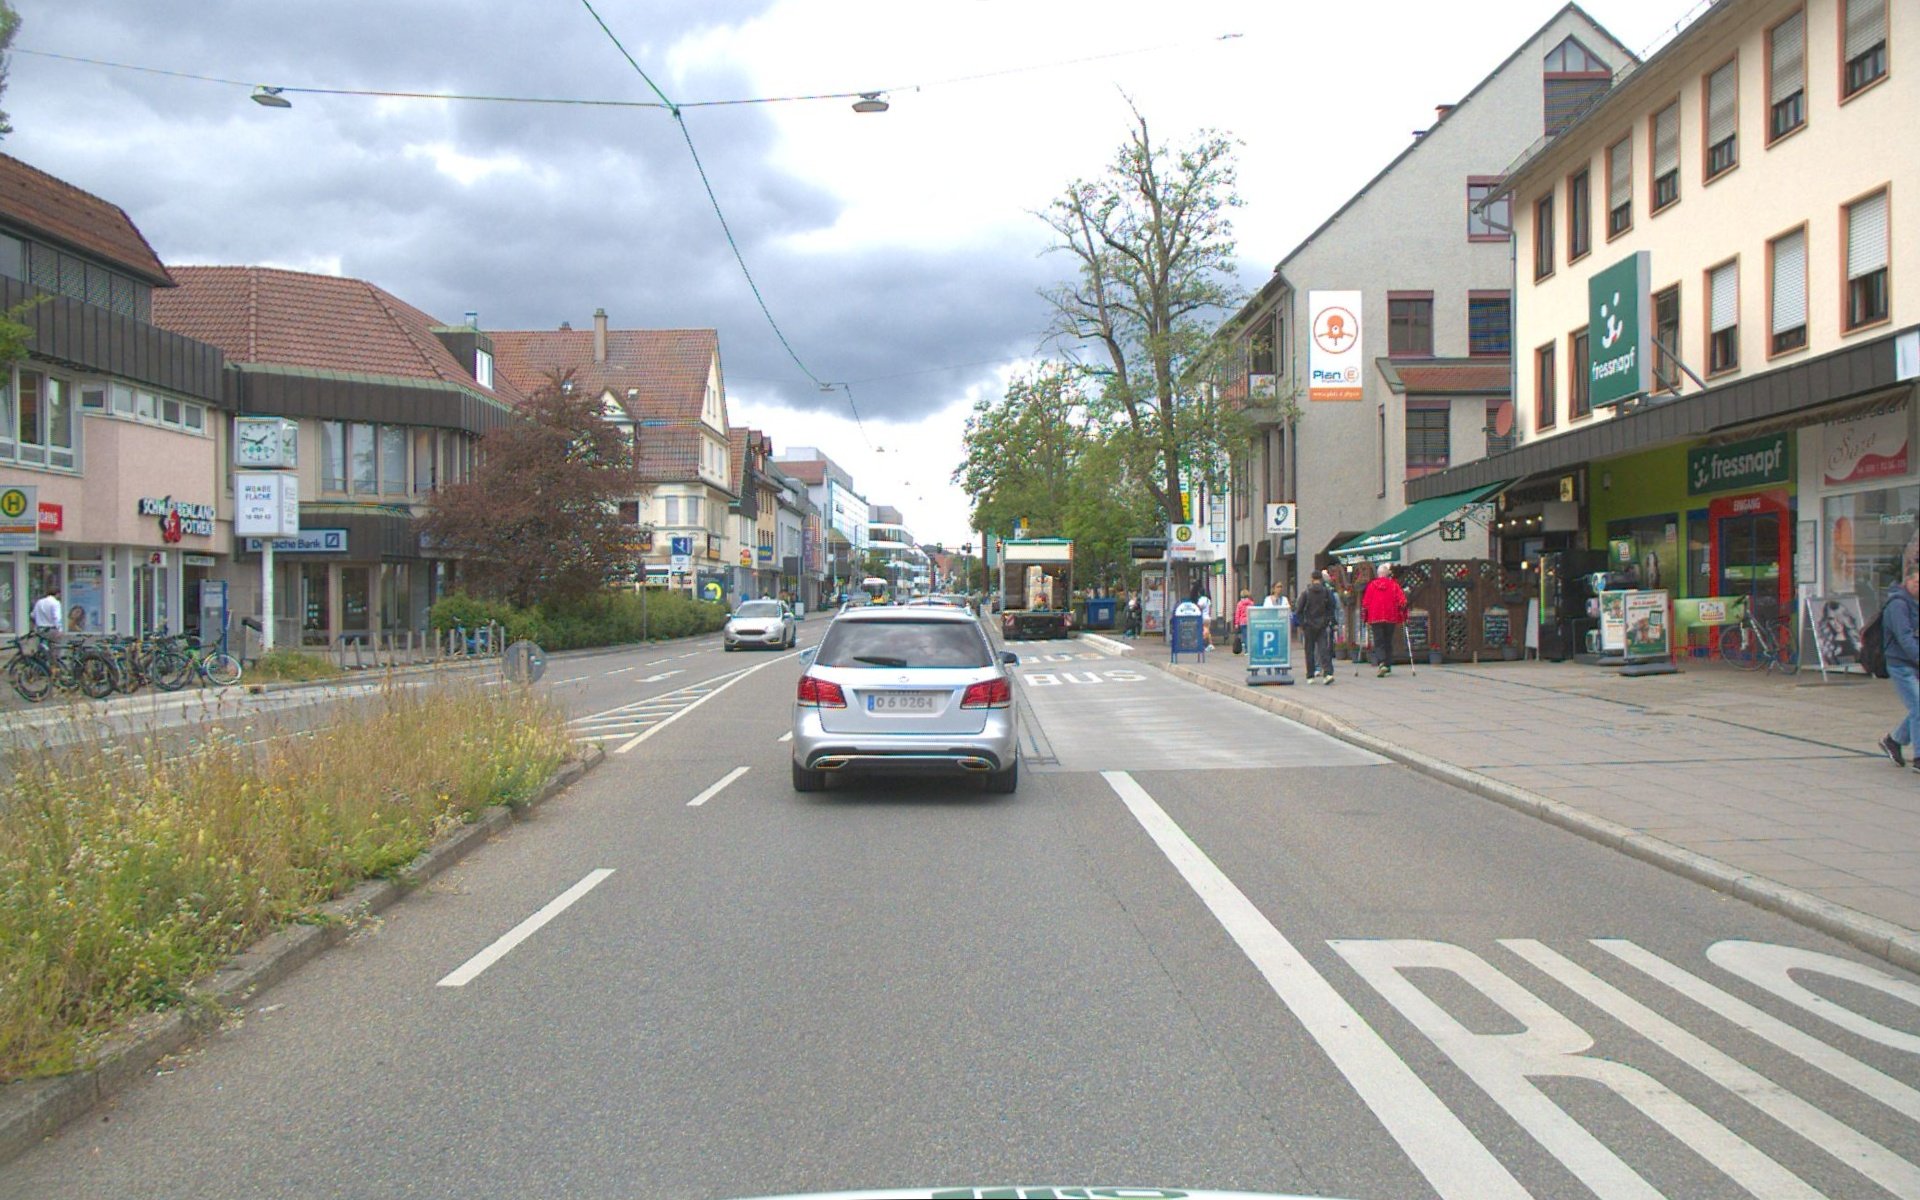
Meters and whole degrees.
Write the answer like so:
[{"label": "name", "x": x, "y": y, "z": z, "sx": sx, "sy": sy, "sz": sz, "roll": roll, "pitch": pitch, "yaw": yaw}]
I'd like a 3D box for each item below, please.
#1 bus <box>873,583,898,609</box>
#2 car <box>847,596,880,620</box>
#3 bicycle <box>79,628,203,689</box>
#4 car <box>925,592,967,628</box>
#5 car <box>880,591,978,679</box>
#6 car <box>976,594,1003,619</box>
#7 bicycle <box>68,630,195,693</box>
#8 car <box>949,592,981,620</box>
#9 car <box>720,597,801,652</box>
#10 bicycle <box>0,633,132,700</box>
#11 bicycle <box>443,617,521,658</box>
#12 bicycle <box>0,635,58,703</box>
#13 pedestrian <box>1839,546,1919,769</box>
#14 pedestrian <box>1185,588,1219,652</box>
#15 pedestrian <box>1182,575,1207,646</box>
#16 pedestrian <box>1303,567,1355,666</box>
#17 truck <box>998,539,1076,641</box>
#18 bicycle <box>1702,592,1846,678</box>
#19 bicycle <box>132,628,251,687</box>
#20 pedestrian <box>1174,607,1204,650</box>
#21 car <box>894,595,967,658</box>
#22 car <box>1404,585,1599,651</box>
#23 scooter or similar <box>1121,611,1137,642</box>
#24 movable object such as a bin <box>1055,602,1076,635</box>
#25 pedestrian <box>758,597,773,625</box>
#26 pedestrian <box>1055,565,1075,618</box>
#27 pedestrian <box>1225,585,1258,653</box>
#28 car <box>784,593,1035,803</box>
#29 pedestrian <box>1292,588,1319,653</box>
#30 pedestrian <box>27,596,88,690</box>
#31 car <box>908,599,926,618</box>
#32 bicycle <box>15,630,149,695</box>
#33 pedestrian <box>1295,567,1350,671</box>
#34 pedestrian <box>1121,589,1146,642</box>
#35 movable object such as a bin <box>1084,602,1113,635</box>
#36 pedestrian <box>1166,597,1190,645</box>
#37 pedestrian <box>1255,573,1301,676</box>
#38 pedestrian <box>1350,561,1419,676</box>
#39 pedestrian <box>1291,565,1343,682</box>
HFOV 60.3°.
[{"label": "bus", "x": -9.200, "y": -0.505, "z": 205.025, "sx": 2.718, "sy": 3.220, "sz": 5.933, "roll": 0, "pitch": 0, "yaw": 1}, {"label": "car", "x": -7.630, "y": 0.588, "z": 131.208, "sx": 2.026, "sy": 1.769, "sz": 4.694, "roll": -2, "pitch": 0, "yaw": 2}, {"label": "bicycle", "x": -15.458, "y": 1.093, "z": 31.239, "sx": 1.981, "sy": 1.109, "sz": 0.647, "roll": 0, "pitch": 0, "yaw": -10}, {"label": "car", "x": -0.654, "y": 0.470, "z": 81.165, "sx": 1.952, "sy": 1.713, "sz": 4.000, "roll": 0, "pitch": 0, "yaw": 1}, {"label": "car", "x": -0.538, "y": 0.612, "z": 31.414, "sx": 1.718, "sy": 1.547, "sz": 4.000, "roll": -1, "pitch": 0, "yaw": 0}, {"label": "car", "x": 2.132, "y": 0.458, "z": 120.160, "sx": 1.952, "sy": 1.713, "sz": 4.000, "roll": 0, "pitch": 0, "yaw": 1}, {"label": "bicycle", "x": -15.285, "y": 1.124, "z": 30.544, "sx": 1.981, "sy": 1.109, "sz": 0.647, "roll": 0, "pitch": 0, "yaw": -10}, {"label": "car", "x": 0.303, "y": 0.384, "z": 104.003, "sx": 1.952, "sy": 1.713, "sz": 4.000, "roll": 0, "pitch": 0, "yaw": 1}, {"label": "car", "x": -5.938, "y": 0.711, "z": 49.660, "sx": 1.836, "sy": 1.532, "sz": 4.344, "roll": -2, "pitch": 0, "yaw": 1}, {"label": "bicycle", "x": -15.329, "y": 1.134, "z": 28.282, "sx": 1.978, "sy": 1.109, "sz": 0.648, "roll": 0, "pitch": 0, "yaw": -5}, {"label": "bicycle", "x": -13.158, "y": 1.031, "z": 45.588, "sx": 1.981, "sy": 1.109, "sz": 0.647, "roll": 0, "pitch": 0, "yaw": -10}, {"label": "bicycle", "x": -16.116, "y": 1.136, "z": 27.356, "sx": 1.983, "sy": 1.109, "sz": 0.647, "roll": 0, "pitch": 0, "yaw": -14}, {"label": "pedestrian", "x": 7.330, "y": 0.422, "z": 12.741, "sx": 0.673, "sy": 1.663, "sz": 0.853, "roll": 0, "pitch": 0, "yaw": 2}, {"label": "pedestrian", "x": 6.429, "y": 0.516, "z": 43.940, "sx": 0.604, "sy": 1.663, "sz": 0.789, "roll": 0, "pitch": 1, "yaw": -21}, {"label": "pedestrian", "x": 6.963, "y": 0.309, "z": 49.024, "sx": 0.600, "sy": 2.083, "sz": 0.588, "roll": -2, "pitch": -1, "yaw": 14}, {"label": "pedestrian", "x": 6.783, "y": 0.312, "z": 30.434, "sx": 0.669, "sy": 1.772, "sz": 0.781, "roll": -2, "pitch": -2, "yaw": -5}, {"label": "truck", "x": 2.856, "y": -0.363, "z": 63.921, "sx": 2.633, "sy": 3.623, "sz": 9.766, "roll": 0, "pitch": 0, "yaw": 0}, {"label": "bicycle", "x": 10.927, "y": 0.438, "z": 22.314, "sx": 0.726, "sy": 1.081, "sz": 2.350, "roll": -1, "pitch": 0, "yaw": -1}, {"label": "bicycle", "x": -14.903, "y": 1.108, "z": 32.128, "sx": 1.981, "sy": 1.109, "sz": 0.647, "roll": 0, "pitch": 0, "yaw": -10}, {"label": "pedestrian", "x": 6.438, "y": 0.786, "z": 46.479, "sx": 0.698, "sy": 1.186, "sz": 0.587, "roll": 0, "pitch": 1, "yaw": -6}, {"label": "car", "x": -0.799, "y": 0.713, "z": 47.297, "sx": 1.952, "sy": 1.713, "sz": 4.000, "roll": 0, "pitch": 0, "yaw": 1}, {"label": "car", "x": 14.033, "y": 0.462, "z": 43.065, "sx": 4.508, "sy": 1.648, "sz": 1.881, "roll": 0, "pitch": 0, "yaw": 4}, {"label": "scooter or similar", "x": 5.334, "y": 0.843, "z": 52.205, "sx": 0.382, "sy": 0.976, "sz": 0.350, "roll": -1, "pitch": 0, "yaw": -41}, {"label": "movable object such as a bin", "x": 4.481, "y": 0.792, "z": 70.401, "sx": 0.863, "sy": 1.363, "sz": 1.086, "roll": -1, "pitch": 0, "yaw": 2}, {"label": "pedestrian", "x": -11.540, "y": 0.650, "z": 97.918, "sx": 0.801, "sy": 1.663, "sz": 0.979, "roll": 2, "pitch": 0, "yaw": -5}, {"label": "pedestrian", "x": 3.697, "y": -0.295, "z": 58.242, "sx": 0.601, "sy": 1.811, "sz": 0.587, "roll": -1, "pitch": -1, "yaw": -3}, {"label": "pedestrian", "x": 6.737, "y": 0.455, "z": 39.551, "sx": 0.658, "sy": 1.594, "sz": 0.492, "roll": 1, "pitch": 1, "yaw": 21}, {"label": "car", "x": -0.408, "y": 0.727, "z": 14.157, "sx": 1.836, "sy": 1.532, "sz": 3.999, "roll": 0, "pitch": 0, "yaw": -1}, {"label": "pedestrian", "x": 8.981, "y": 0.528, "z": 43.014, "sx": 0.574, "sy": 1.663, "sz": 0.615, "roll": 0, "pitch": 0, "yaw": 2}, {"label": "pedestrian", "x": -17.749, "y": 0.842, "z": 32.549, "sx": 0.711, "sy": 1.794, "sz": 0.755, "roll": 3, "pitch": 0, "yaw": -2}, {"label": "car", "x": -3.878, "y": 0.760, "z": 147.776, "sx": 1.538, "sy": 1.567, "sz": 2.959, "roll": 2, "pitch": 0, "yaw": -2}, {"label": "bicycle", "x": -15.559, "y": 1.099, "z": 29.337, "sx": 1.981, "sy": 1.109, "sz": 0.647, "roll": 0, "pitch": 0, "yaw": -10}, {"label": "pedestrian", "x": 5.948, "y": 0.313, "z": 27.158, "sx": 0.704, "sy": 1.663, "sz": 0.614, "roll": -1, "pitch": -1, "yaw": -2}, {"label": "pedestrian", "x": 5.525, "y": 0.487, "z": 52.635, "sx": 0.527, "sy": 1.663, "sz": 0.584, "roll": 3, "pitch": 0, "yaw": -24}, {"label": "movable object such as a bin", "x": 5.871, "y": 0.769, "z": 70.183, "sx": 1.120, "sy": 1.363, "sz": 1.376, "roll": -1, "pitch": 0, "yaw": 2}, {"label": "pedestrian", "x": 6.592, "y": 0.639, "z": 50.035, "sx": 0.600, "sy": 1.425, "sz": 0.588, "roll": -2, "pitch": -1, "yaw": 14}, {"label": "pedestrian", "x": 5.256, "y": 0.405, "z": 27.365, "sx": 0.600, "sy": 1.663, "sz": 0.614, "roll": -1, "pitch": -1, "yaw": -2}, {"label": "pedestrian", "x": 6.759, "y": 0.304, "z": 26.364, "sx": 0.779, "sy": 1.772, "sz": 0.781, "roll": -2, "pitch": -2, "yaw": -5}, {"label": "pedestrian", "x": 5.373, "y": 0.350, "z": 24.908, "sx": 0.599, "sy": 1.707, "sz": 0.615, "roll": 3, "pitch": 0, "yaw": 2}]
